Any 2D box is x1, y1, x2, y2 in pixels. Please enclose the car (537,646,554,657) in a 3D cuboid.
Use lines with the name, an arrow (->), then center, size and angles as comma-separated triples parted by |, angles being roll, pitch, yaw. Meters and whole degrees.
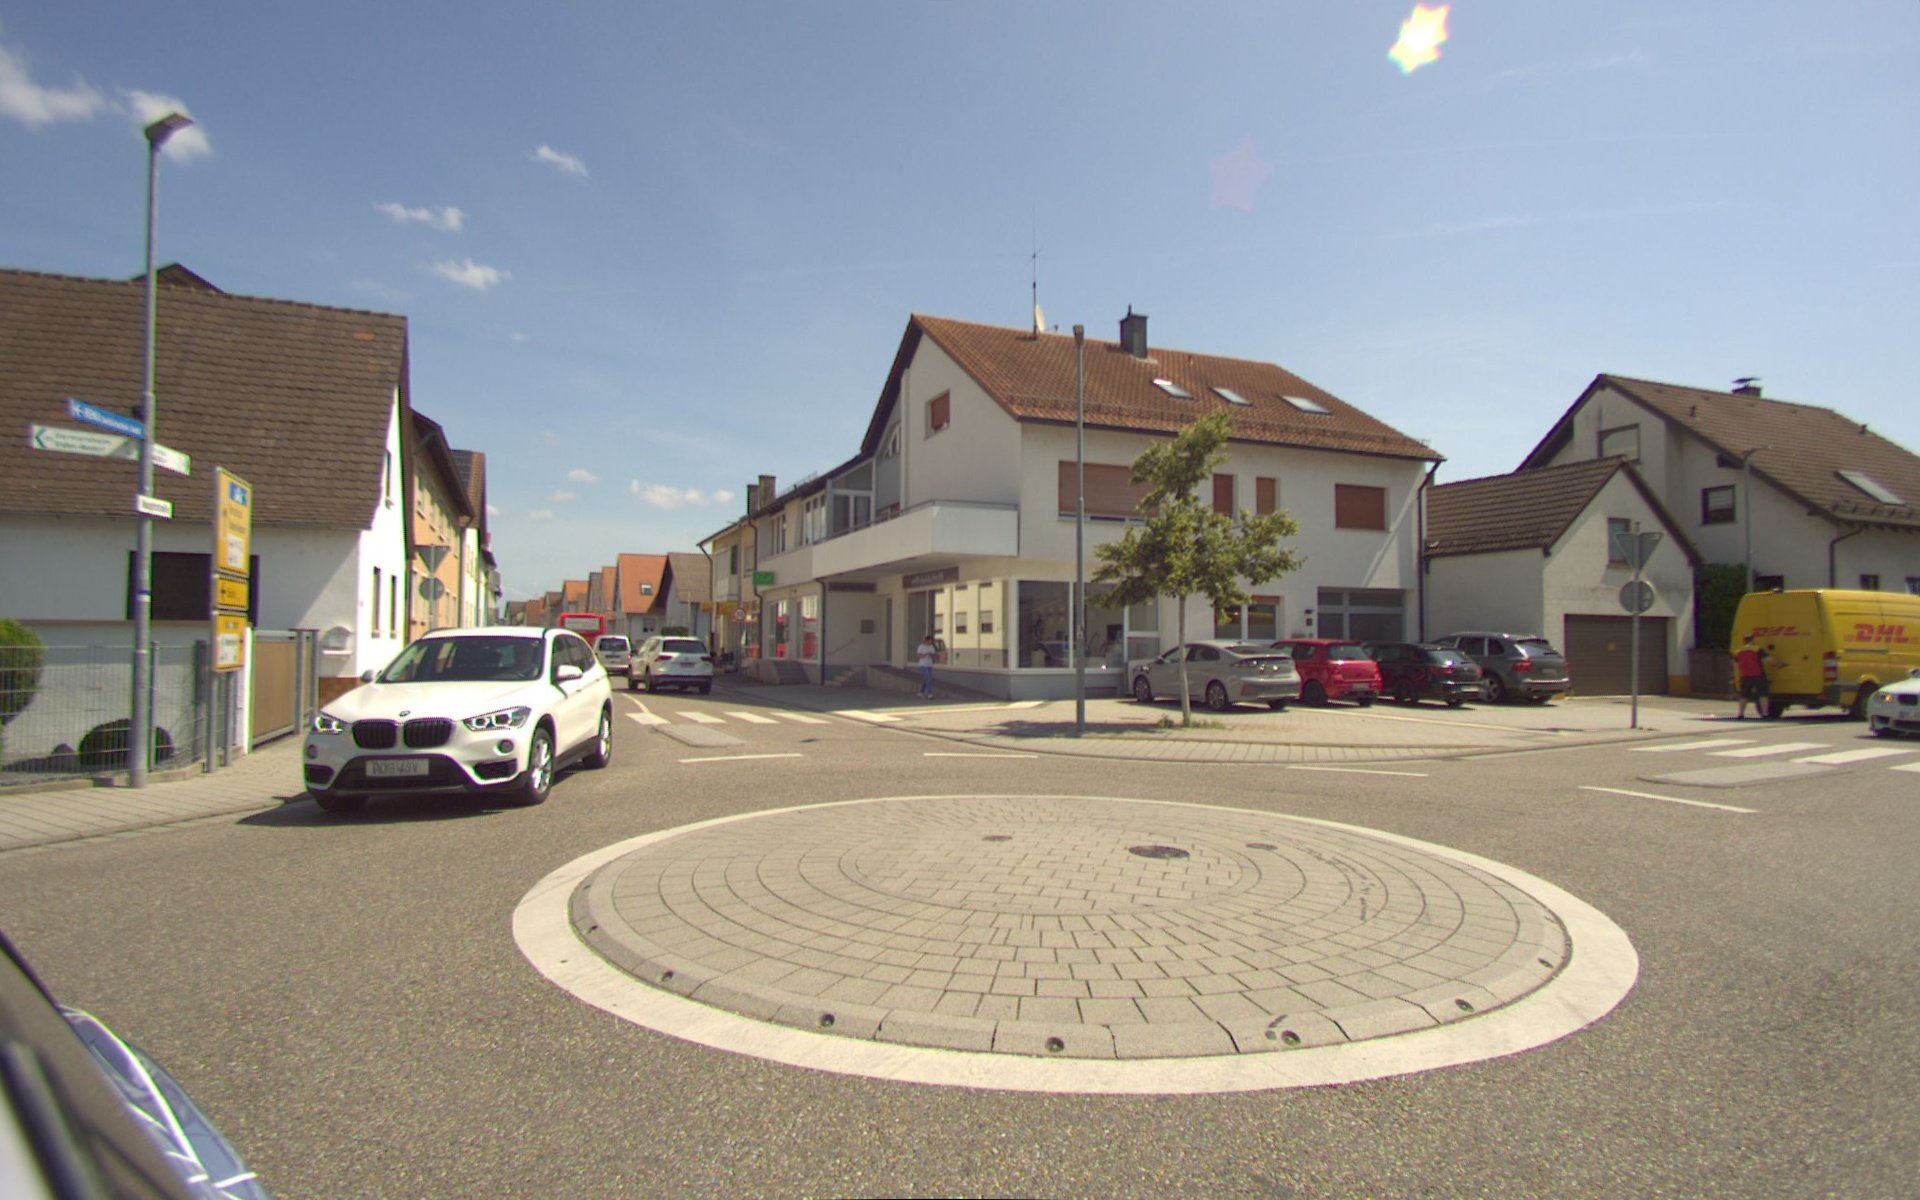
car -> -56.409, 7.026, 137.696 | 1.735, 1.439, 3.864 | 2, -3, -26

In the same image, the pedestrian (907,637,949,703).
pedestrian -> -0.816, 1.745, 25.502 | 0.744, 1.596, 0.960 | -1, -1, -22

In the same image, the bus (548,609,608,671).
bus -> -23.034, 2.433, 60.622 | 2.589, 3.257, 12.061 | 3, -4, -24

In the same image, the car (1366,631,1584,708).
car -> 12.948, 1.684, 25.841 | 1.953, 1.753, 4.765 | 1, -2, -24

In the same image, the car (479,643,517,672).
car -> -24.517, 3.054, 53.765 | 1.735, 1.439, 4.202 | 2, -3, -24

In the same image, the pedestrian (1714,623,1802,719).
pedestrian -> 15.816, 1.411, 20.079 | 0.769, 1.840, 1.026 | 0, -4, -21

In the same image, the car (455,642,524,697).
car -> -13.790, 2.037, 29.801 | 1.662, 1.474, 3.641 | 4, -4, -23

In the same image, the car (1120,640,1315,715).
car -> 5.547, 1.633, 22.452 | 1.804, 1.462, 4.493 | 1, -2, -24

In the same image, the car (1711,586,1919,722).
car -> 18.860, 1.141, 21.196 | 5.586, 2.592, 2.119 | 1, -3, -18

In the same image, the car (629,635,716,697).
car -> -8.726, 1.939, 30.428 | 1.839, 1.723, 4.557 | 1, -3, -24

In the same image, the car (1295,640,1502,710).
car -> 10.295, 1.711, 24.177 | 1.804, 1.462, 4.493 | 1, -2, -24

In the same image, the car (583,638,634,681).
car -> -16.144, 2.706, 46.327 | 1.746, 1.835, 4.456 | 3, -4, -24

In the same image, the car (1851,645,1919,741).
car -> 16.704, 1.471, 16.226 | 4.259, 1.460, 1.887 | 1, -3, -22

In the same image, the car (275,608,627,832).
car -> -4.660, 1.008, 10.048 | 1.817, 1.658, 4.381 | -2, -2, -8

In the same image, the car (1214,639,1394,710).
car -> 7.916, 1.658, 23.664 | 1.722, 1.488, 3.977 | 1, -2, -24
